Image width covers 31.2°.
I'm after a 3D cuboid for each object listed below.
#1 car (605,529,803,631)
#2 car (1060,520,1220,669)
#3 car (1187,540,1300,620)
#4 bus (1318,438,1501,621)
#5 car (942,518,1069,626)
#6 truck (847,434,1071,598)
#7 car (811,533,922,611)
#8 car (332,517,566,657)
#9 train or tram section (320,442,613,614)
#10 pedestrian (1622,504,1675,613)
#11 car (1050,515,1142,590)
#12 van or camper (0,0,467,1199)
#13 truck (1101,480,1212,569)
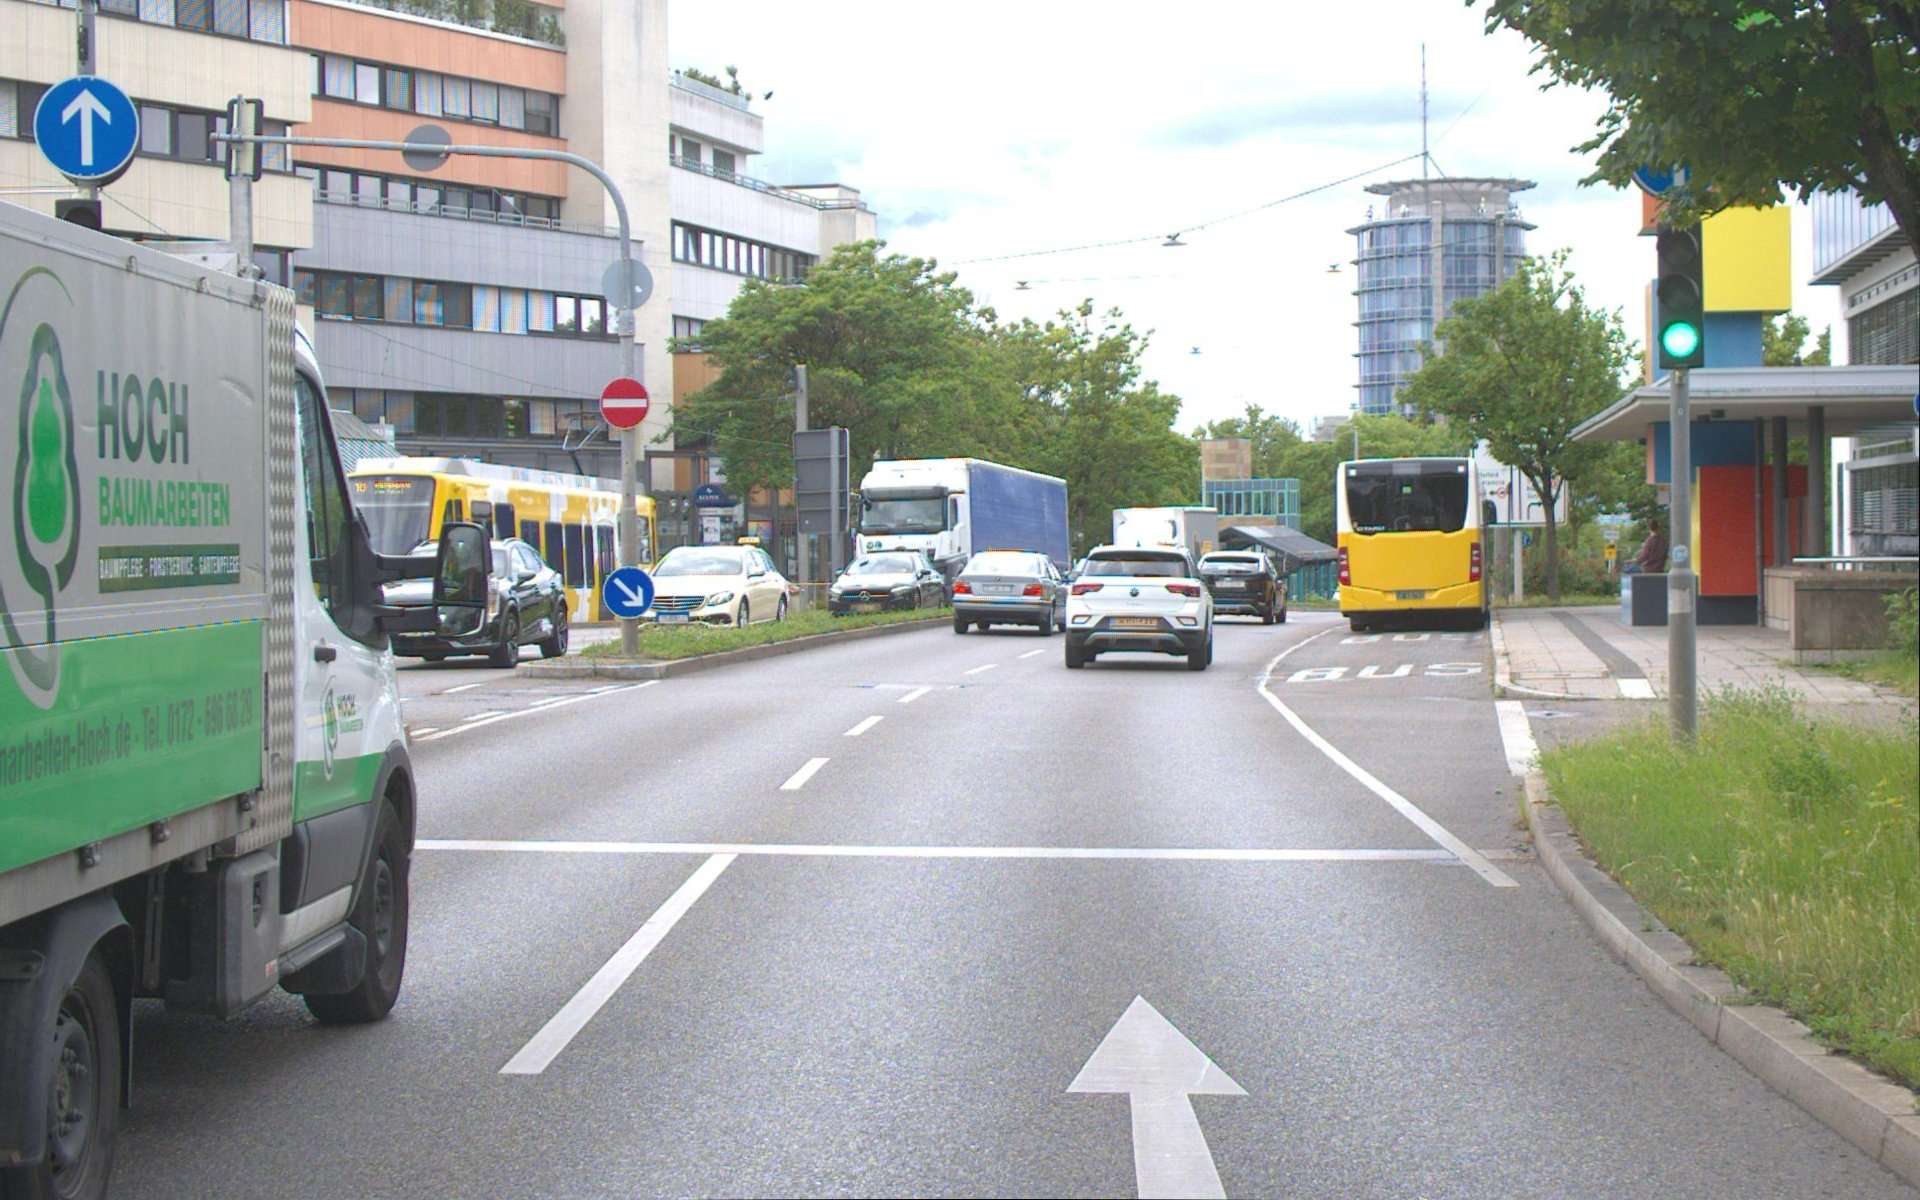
[{"bbox_3d":[-4.026,-0.356,54.847,1.966,1.493,4.773,1,2,11],"label":"car"},{"bbox_3d":[2.347,-0.109,44.072,1.700,1.542,3.736,3,5,7],"label":"car"},{"bbox_3d":[5.904,-0.439,71.349,1.701,1.510,3.491,1,3,16],"label":"car"},{"bbox_3d":[8.657,-1.375,65.273,2.955,3.179,9.925,1,2,10],"label":"bus"},{"bbox_3d":[0.798,-0.492,57.608,1.700,1.510,3.736,1,5,8],"label":"car"},{"bbox_3d":[0.229,-2.323,93.968,2.955,4.065,16.595,1,2,11],"label":"truck"},{"bbox_3d":[-1.867,-0.572,69.562,1.700,1.511,3.493,1,1,8],"label":"car"},{"bbox_3d":[-6.152,-0.171,41.863,1.898,1.612,4.275,0,1,5],"label":"car"},{"bbox_3d":[-10.487,-1.558,74.910,2.560,3.399,13.078,0,1,9],"label":"train or tram section"},{"bbox_3d":[11.469,-0.697,57.283,0.709,1.809,0.764,0,1,0],"label":"pedestrian"},{"bbox_3d":[3.769,-1.333,94.713,1.994,2.007,5.195,0,1,8],"label":"car"},{"bbox_3d":[-2.824,-0.064,8.489,2.343,2.652,5.966,1,2,0],"label":"van or camper"},{"bbox_3d":[7.044,-2.699,121.759,3.084,3.018,9.355,0,1,9],"label":"truck"}]
